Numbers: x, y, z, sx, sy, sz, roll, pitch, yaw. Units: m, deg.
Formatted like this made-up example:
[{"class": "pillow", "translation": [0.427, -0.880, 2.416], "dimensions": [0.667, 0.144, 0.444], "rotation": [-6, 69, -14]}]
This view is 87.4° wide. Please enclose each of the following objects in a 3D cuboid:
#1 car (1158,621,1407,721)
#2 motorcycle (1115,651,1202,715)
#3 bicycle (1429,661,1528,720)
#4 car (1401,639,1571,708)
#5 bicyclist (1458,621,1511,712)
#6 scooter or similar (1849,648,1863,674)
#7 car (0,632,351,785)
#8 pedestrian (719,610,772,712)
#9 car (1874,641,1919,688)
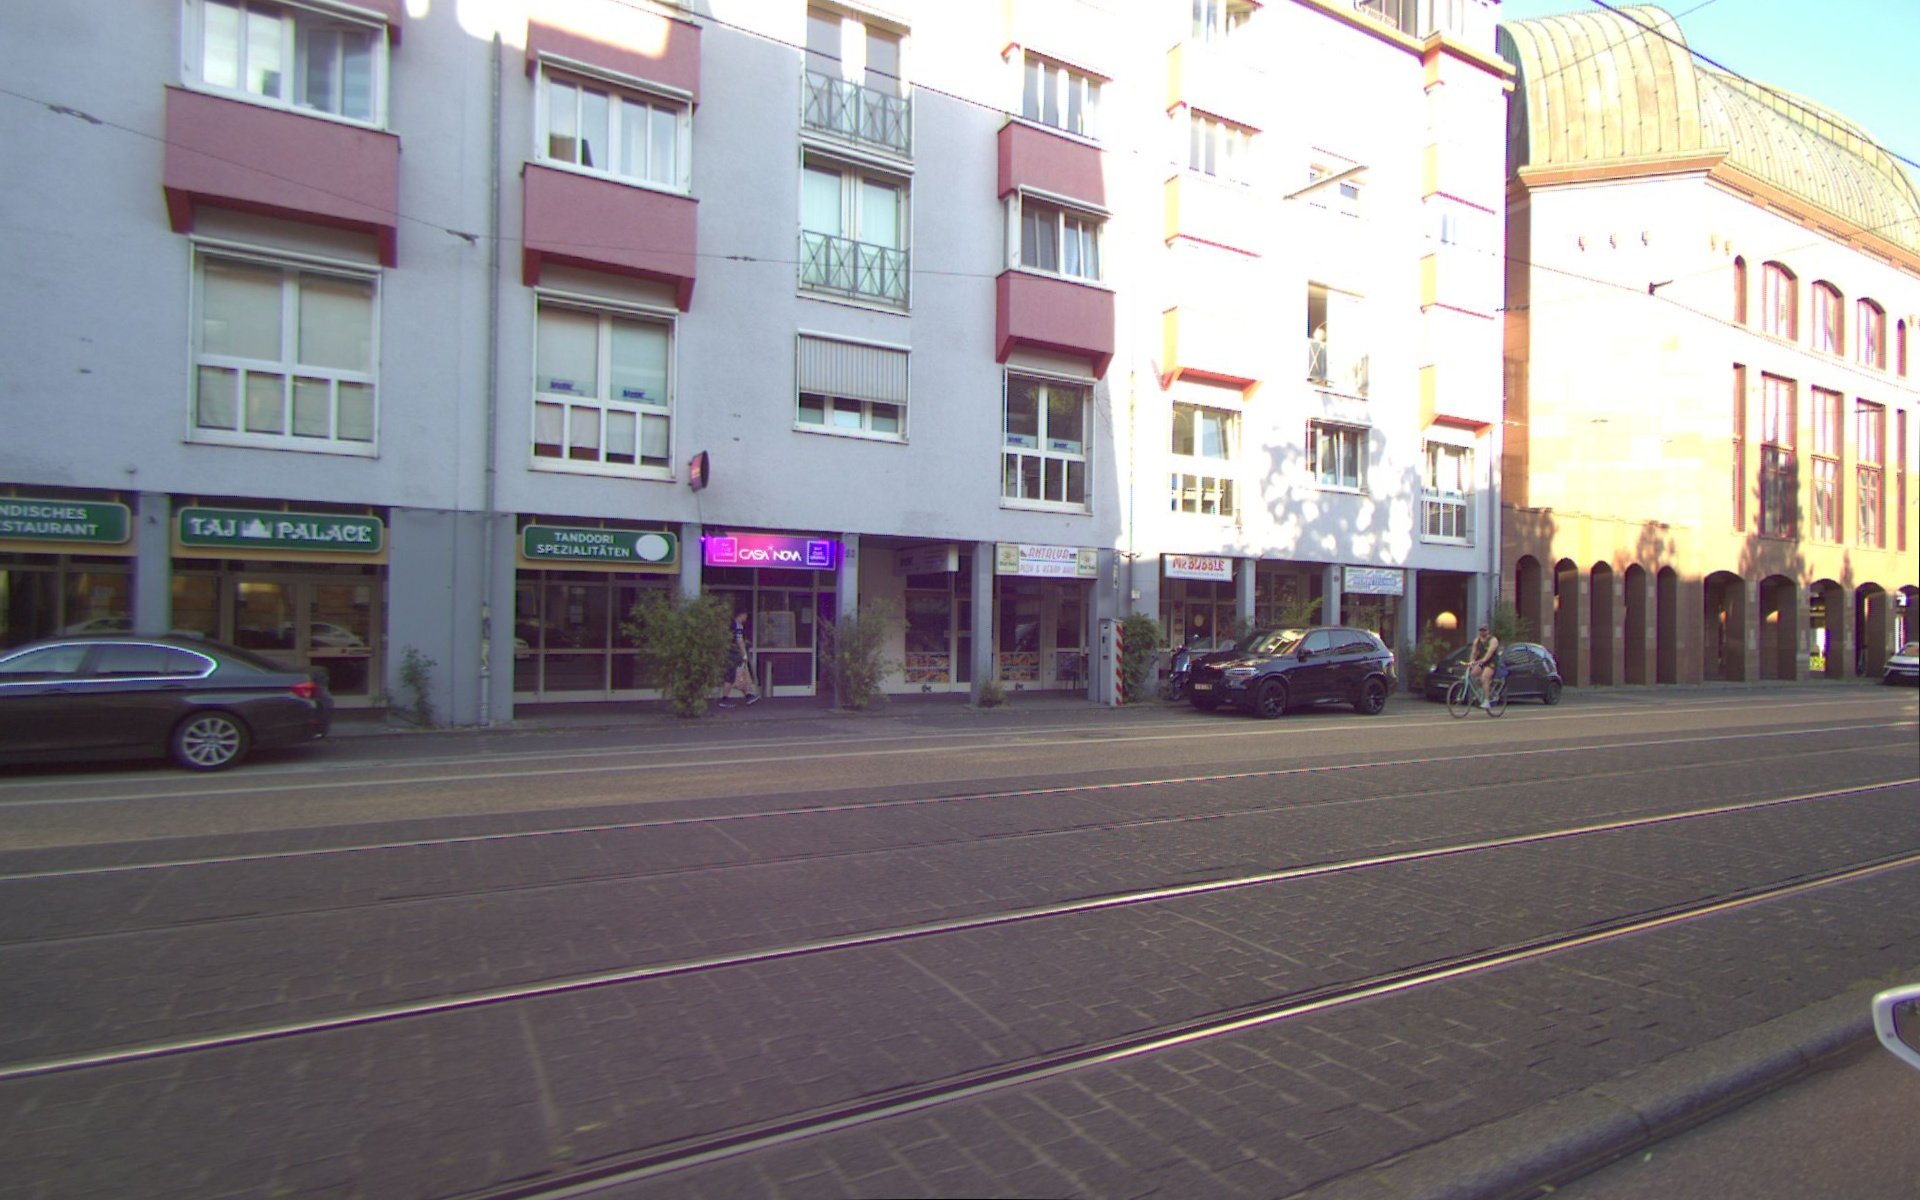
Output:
[{"class": "car", "translation": [6.520, 1.396, 20.199], "dimensions": [4.763, 1.735, 2.081], "rotation": [3, -1, -30]}, {"class": "motorcycle", "translation": [4.086, 1.666, 20.596], "dimensions": [0.662, 1.221, 2.128], "rotation": [2, -1, 44]}, {"class": "bicycle", "translation": [10.039, 1.729, 19.409], "dimensions": [2.158, 1.091, 0.580], "rotation": [2, -3, -29]}, {"class": "car", "translation": [12.529, 1.726, 23.950], "dimensions": [3.536, 1.470, 1.863], "rotation": [2, -1, -26]}, {"class": "bicyclist", "translation": [10.189, 1.288, 19.508], "dimensions": [0.736, 1.734, 0.569], "rotation": [2, -3, -29]}, {"class": "scooter or similar", "translation": [35.441, 2.400, 39.732], "dimensions": [0.358, 0.951, 0.968], "rotation": [3, 1, 41]}, {"class": "car", "translation": [-9.541, 1.130, 11.161], "dimensions": [4.652, 1.458, 1.860], "rotation": [2, -1, -31]}, {"class": "pedestrian", "translation": [-3.776, 1.059, 17.692], "dimensions": [0.737, 1.734, 0.611], "rotation": [1, -1, -31]}, {"class": "car", "translation": [35.585, 2.345, 36.940], "dimensions": [4.207, 1.621, 1.859], "rotation": [1, -1, -32]}]
